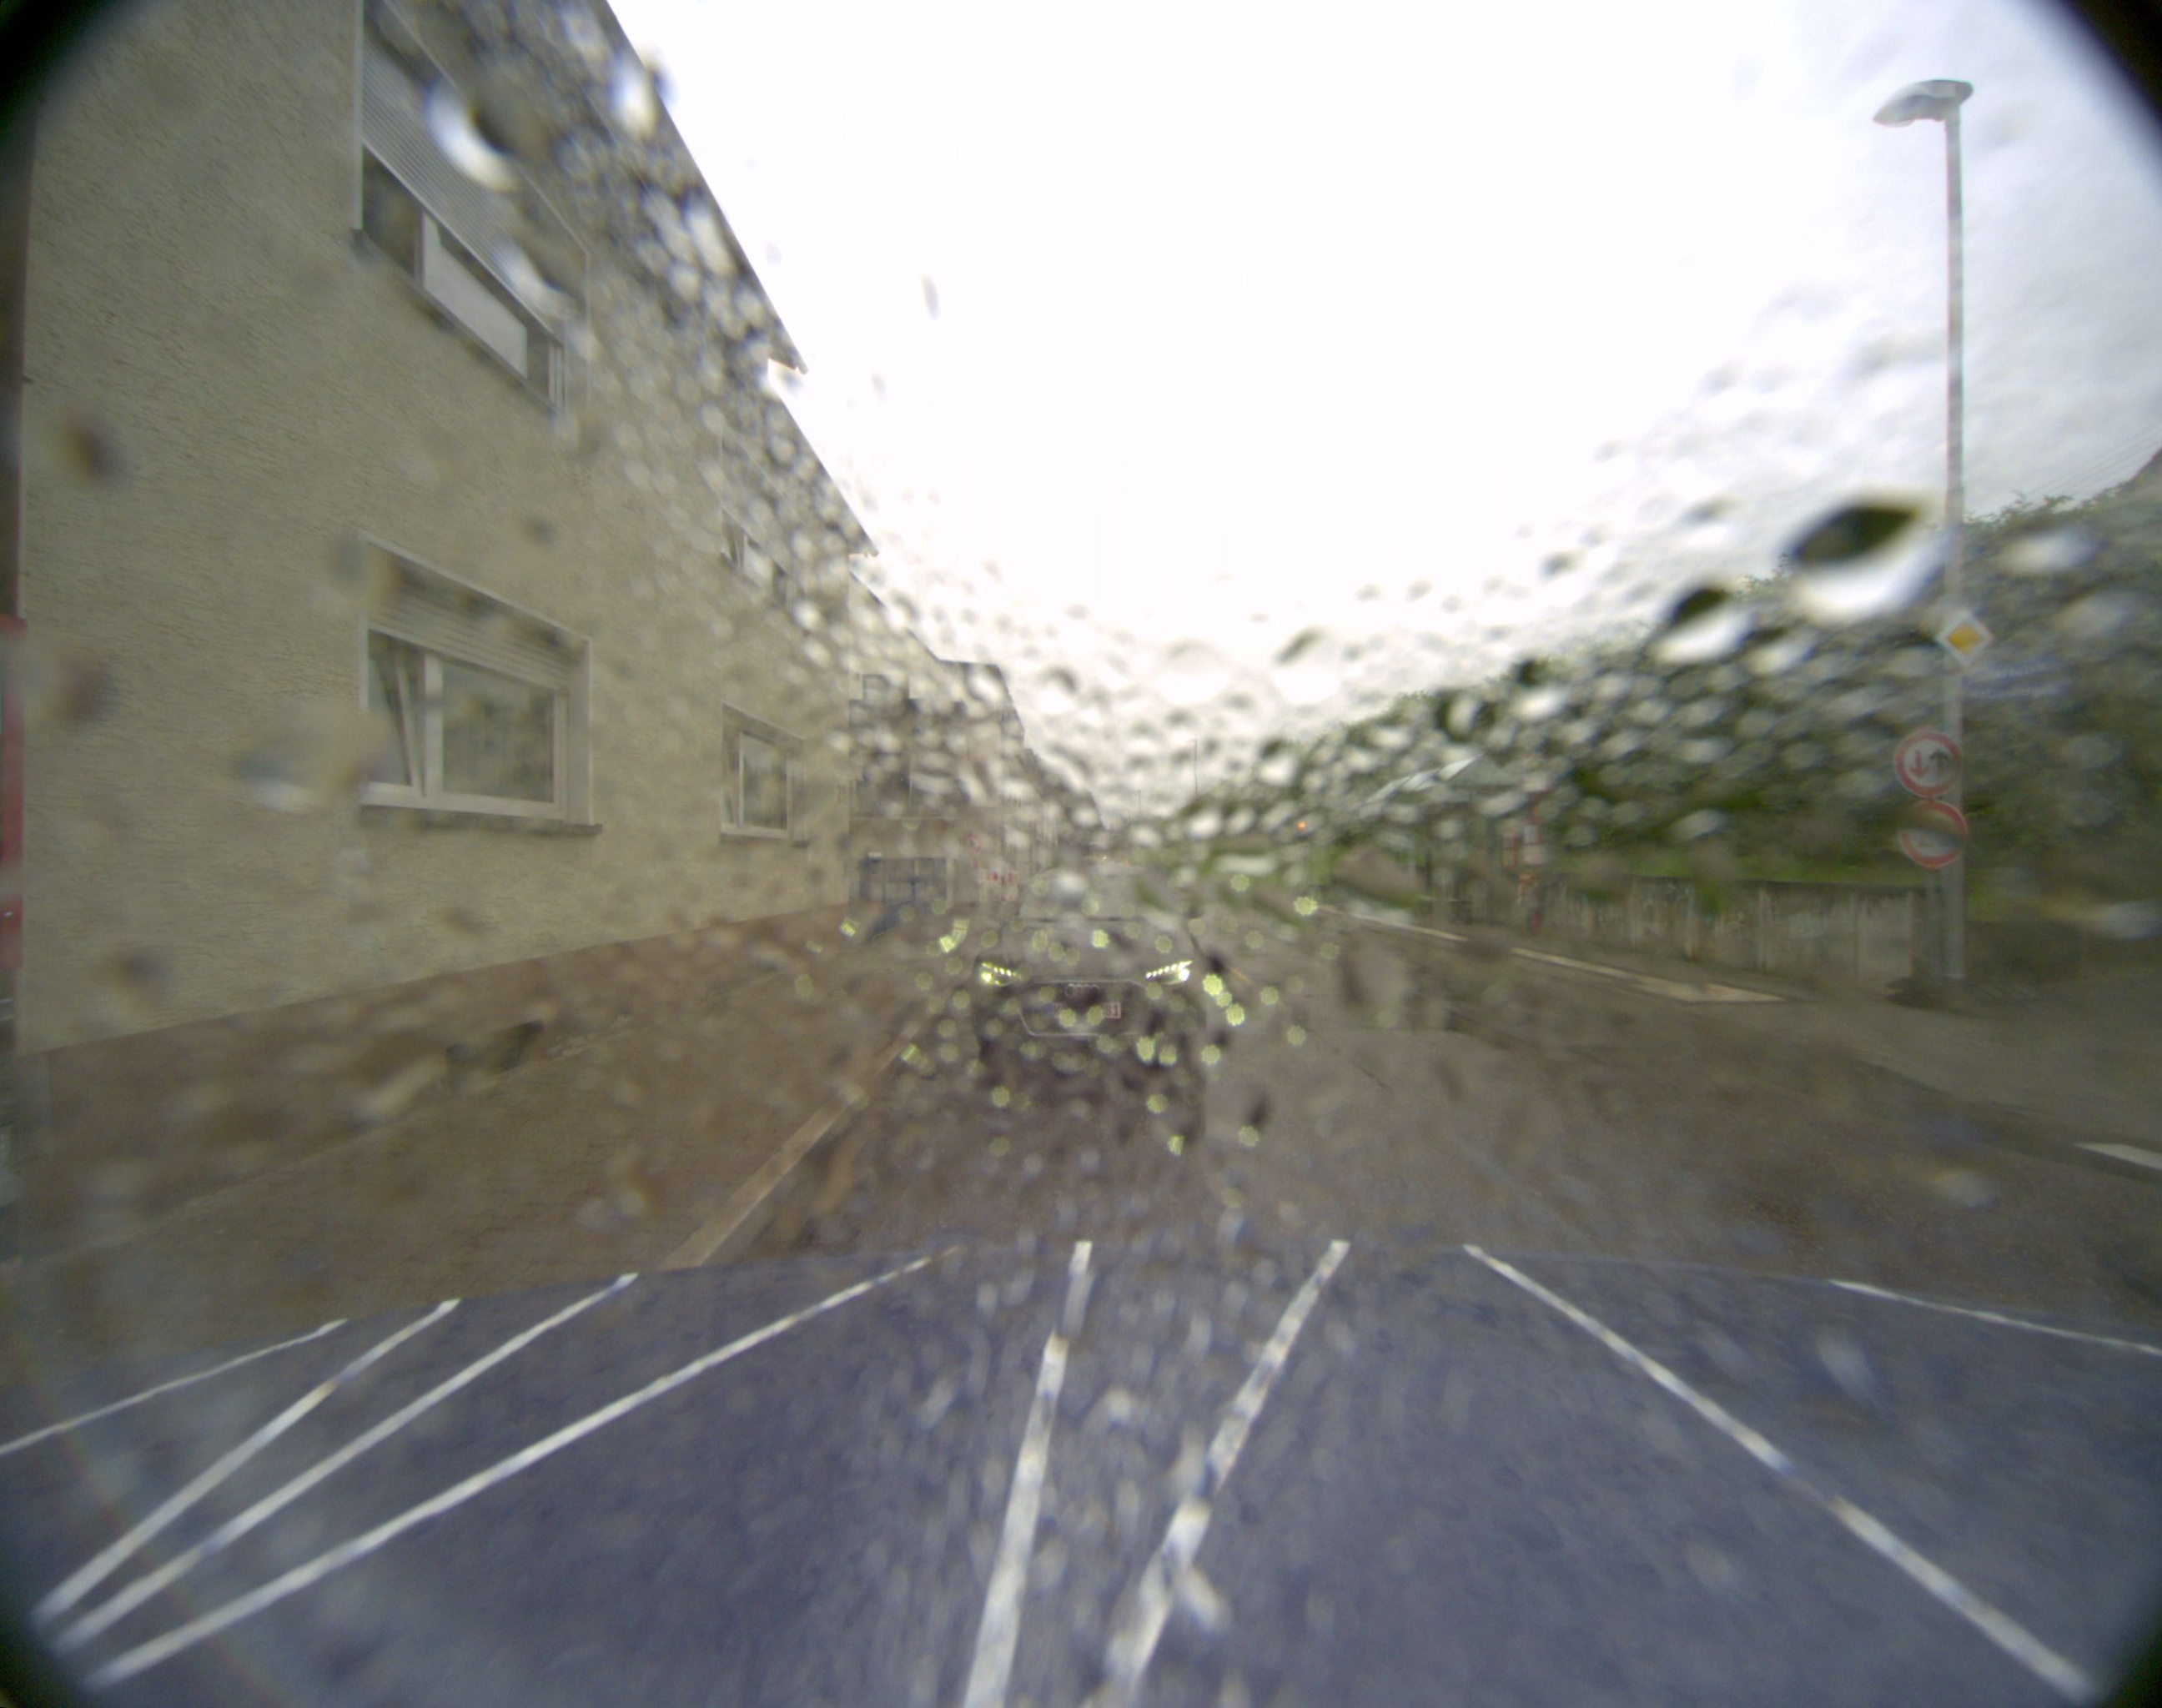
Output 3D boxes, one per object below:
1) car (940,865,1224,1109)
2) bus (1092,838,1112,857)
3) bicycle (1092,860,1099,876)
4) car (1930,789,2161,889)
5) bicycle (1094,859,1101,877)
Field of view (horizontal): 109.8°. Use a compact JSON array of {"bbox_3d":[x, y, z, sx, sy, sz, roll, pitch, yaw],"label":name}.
[{"bbox_3d":[0.030,0.912,7.267,1.851,1.444,4.531,1,1,1],"label":"car"},{"bbox_3d":[3.552,-1.146,125.845,2.684,2.987,14.548,1,1,4],"label":"bus"},{"bbox_3d":[0.977,0.897,50.077,0.407,1.023,1.221,1,1,2],"label":"bicycle"},{"bbox_3d":[15.862,-0.261,11.281,1.749,1.382,4.220,-1,3,0],"label":"car"},{"bbox_3d":[1.037,0.874,47.841,0.407,1.137,1.221,1,1,2],"label":"bicycle"}]
